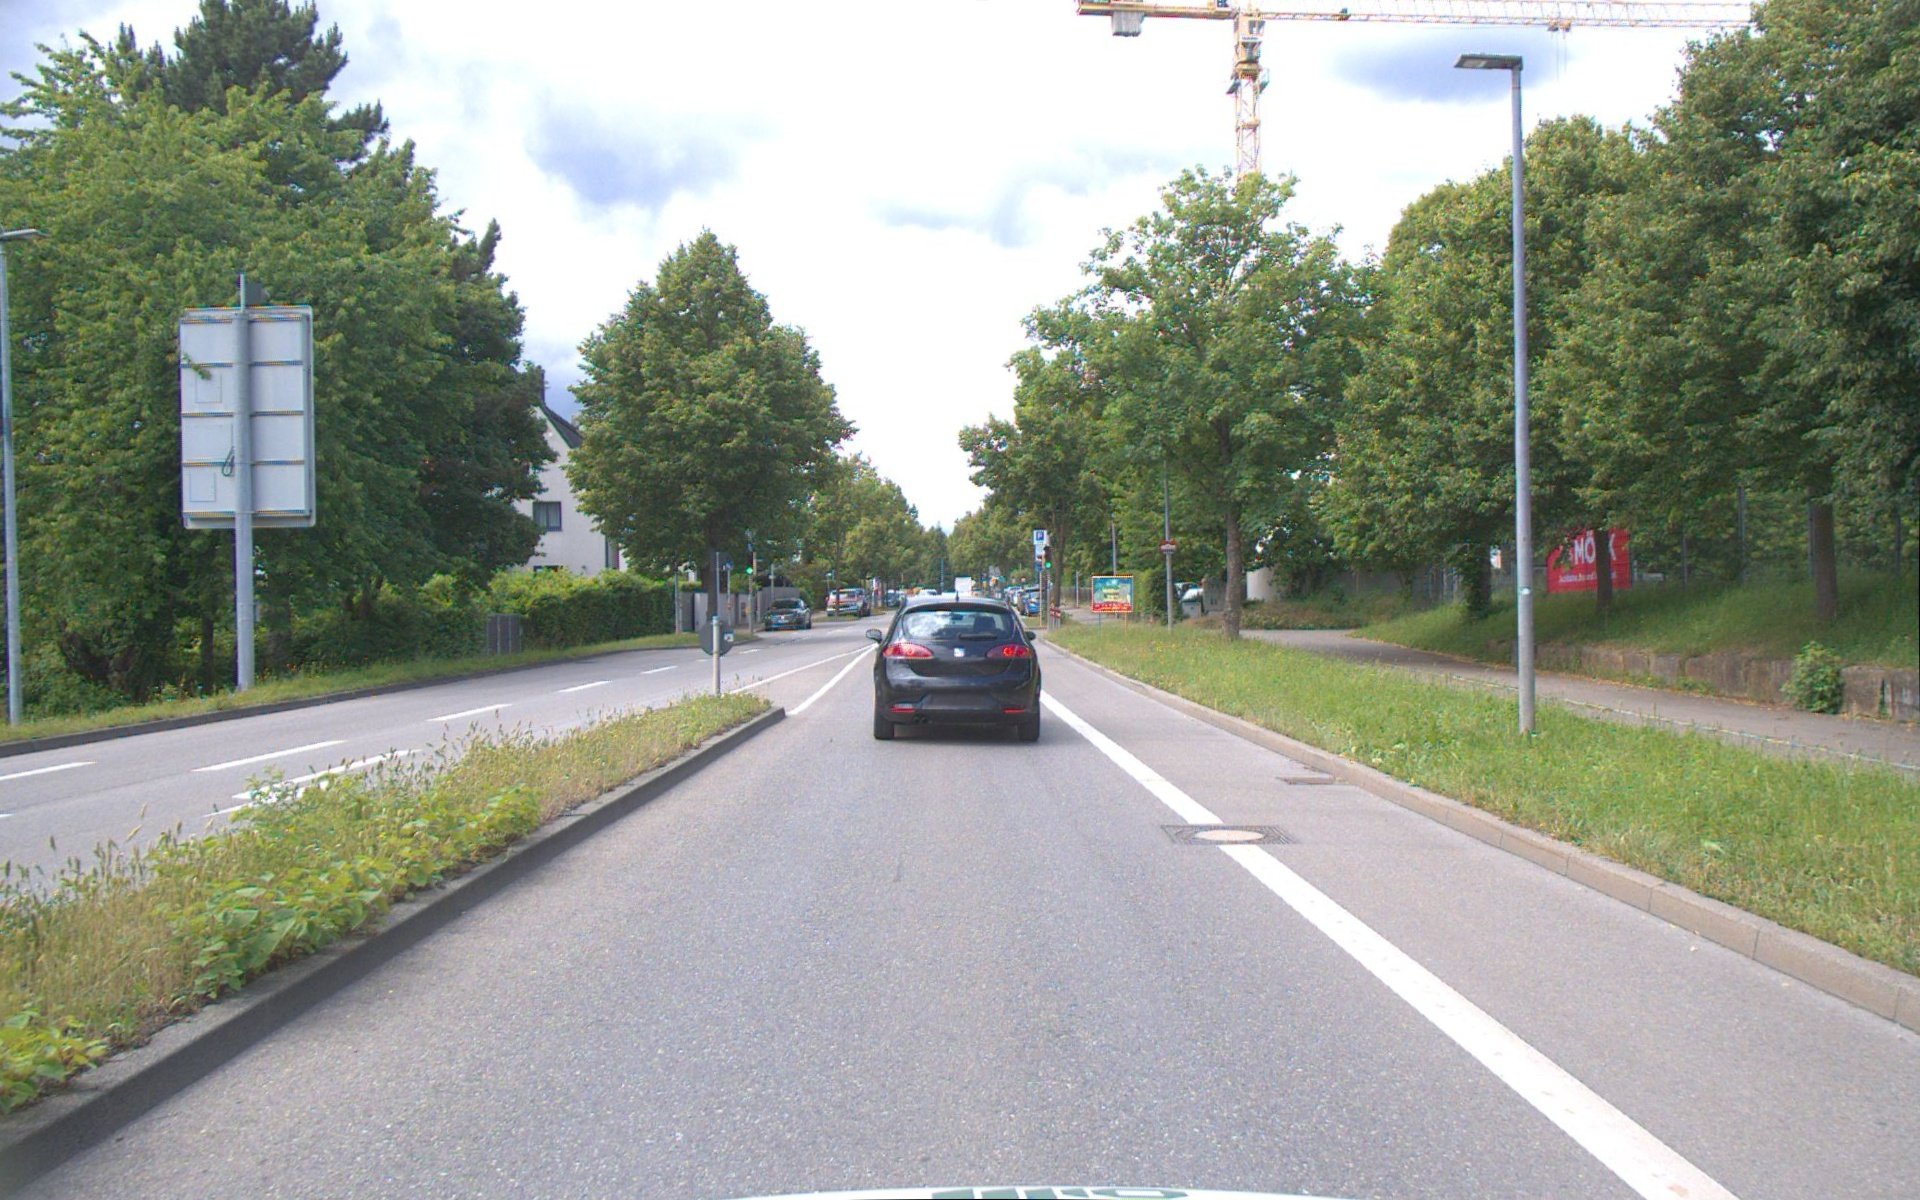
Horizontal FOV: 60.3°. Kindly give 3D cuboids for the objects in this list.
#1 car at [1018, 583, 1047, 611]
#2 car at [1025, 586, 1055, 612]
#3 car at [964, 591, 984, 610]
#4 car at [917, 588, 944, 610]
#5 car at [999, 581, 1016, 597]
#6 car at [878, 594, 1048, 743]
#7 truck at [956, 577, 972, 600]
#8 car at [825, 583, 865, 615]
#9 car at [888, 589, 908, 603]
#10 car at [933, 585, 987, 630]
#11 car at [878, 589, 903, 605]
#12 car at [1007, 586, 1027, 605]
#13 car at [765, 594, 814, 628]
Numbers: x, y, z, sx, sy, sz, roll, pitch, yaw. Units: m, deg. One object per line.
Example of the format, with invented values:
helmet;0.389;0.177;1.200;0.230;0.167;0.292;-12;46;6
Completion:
car;4.612;-0.214;105.547;1.653;1.741;4.214;-1;0;0
car;4.825;-0.059;100.369;1.653;1.516;3.355;-1;0;0
car;1.368;0.044;162.859;1.843;1.718;4.214;-1;0;0
car;-2.369;-0.107;131.931;1.836;1.663;4.342;-3;0;2
car;4.973;-1.145;173.431;1.653;1.591;4.214;-1;0;0
car;0.000;0.658;17.902;1.629;1.426;3.811;0;0;-1
truck;0.544;-1.594;235.527;2.232;3.158;8.510;1;0;0
car;-7.333;-0.075;105.807;2.057;1.929;5.784;-3;0;0
car;-7.315;-0.514;196.020;2.057;1.532;5.784;-3;0;0
car;0.033;0.260;59.623;1.808;1.536;3.813;0;0;2
car;-6.823;-0.310;163.192;2.057;1.532;5.784;-3;0;0
car;5.159;-0.426;148.813;1.653;1.591;4.214;-1;0;0
car;-7.869;0.497;76.773;1.683;1.419;4.801;-3;0;0
